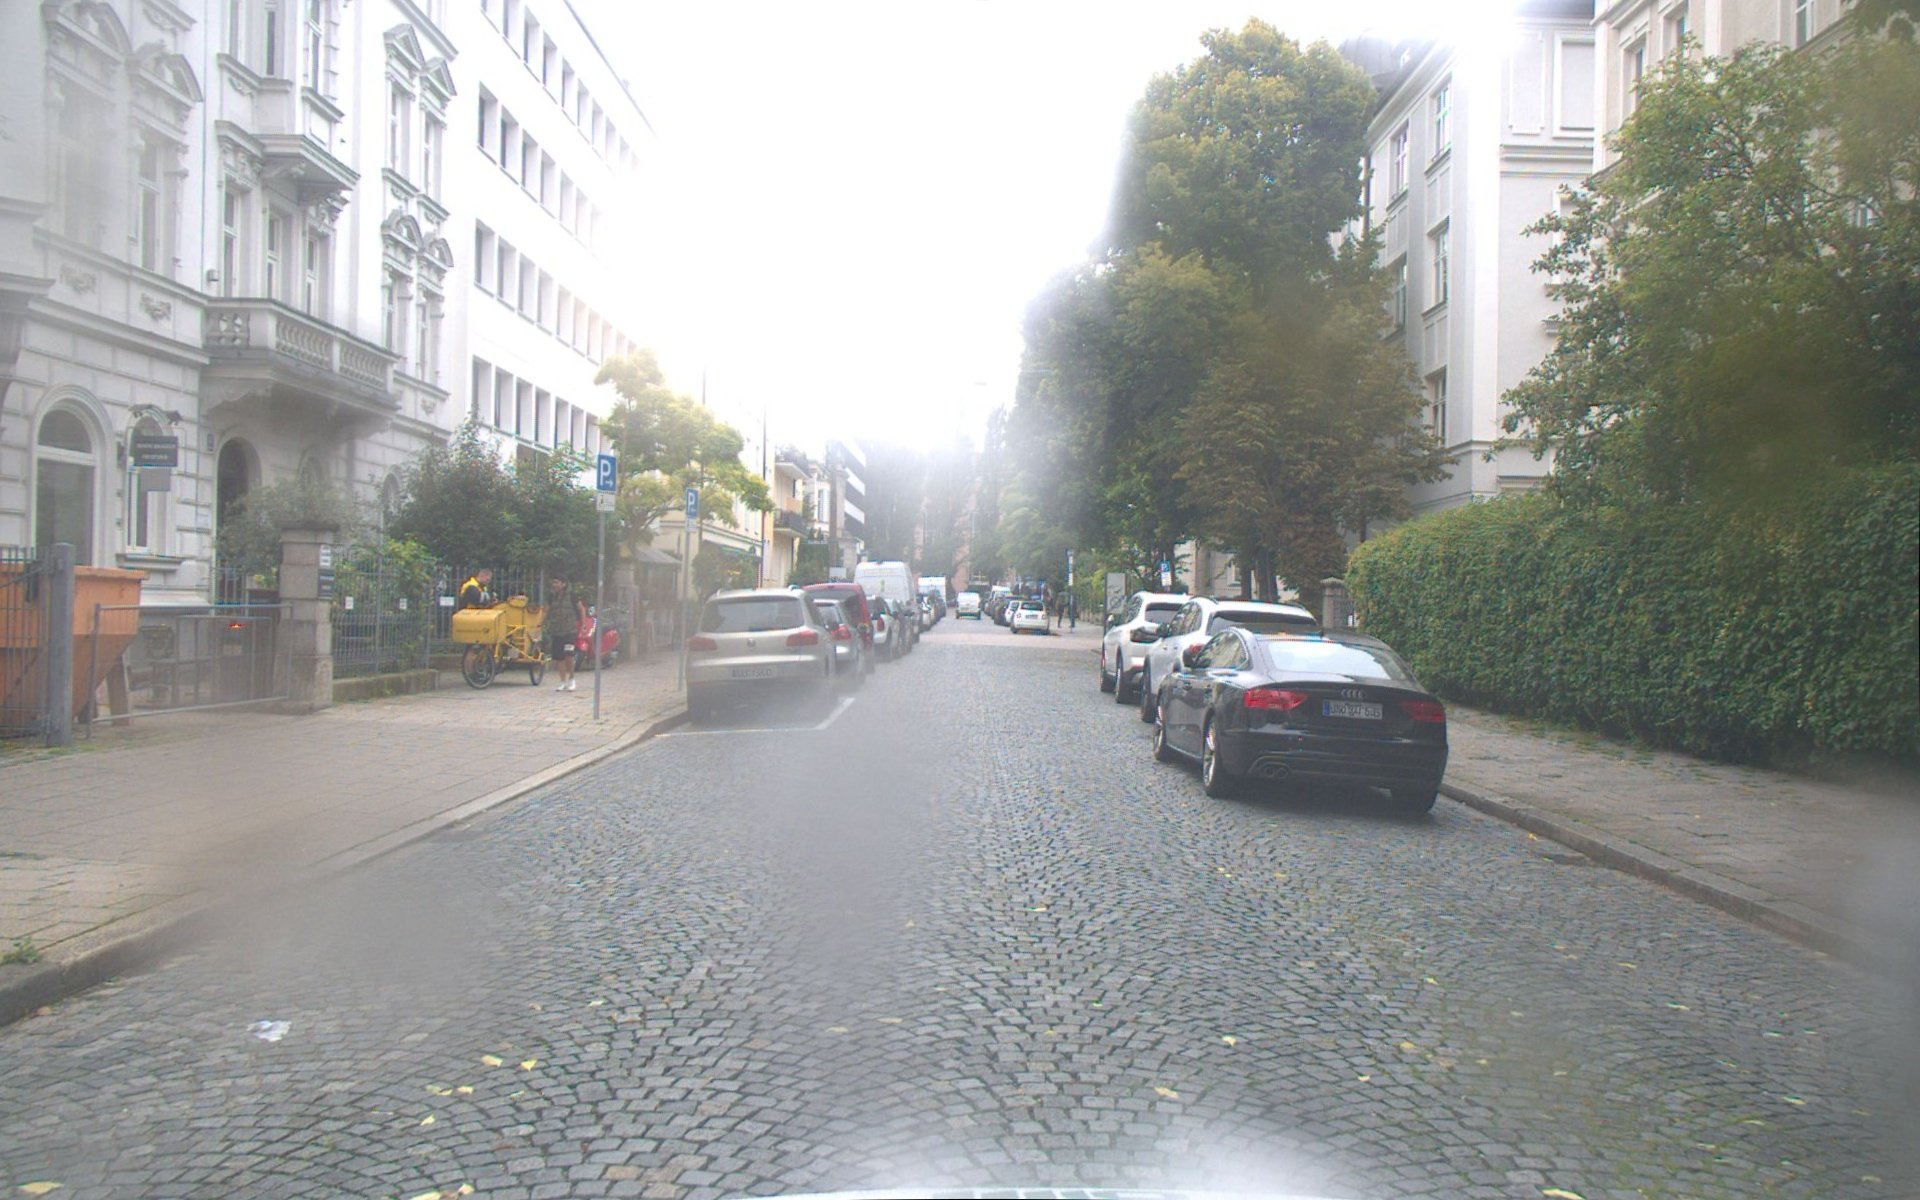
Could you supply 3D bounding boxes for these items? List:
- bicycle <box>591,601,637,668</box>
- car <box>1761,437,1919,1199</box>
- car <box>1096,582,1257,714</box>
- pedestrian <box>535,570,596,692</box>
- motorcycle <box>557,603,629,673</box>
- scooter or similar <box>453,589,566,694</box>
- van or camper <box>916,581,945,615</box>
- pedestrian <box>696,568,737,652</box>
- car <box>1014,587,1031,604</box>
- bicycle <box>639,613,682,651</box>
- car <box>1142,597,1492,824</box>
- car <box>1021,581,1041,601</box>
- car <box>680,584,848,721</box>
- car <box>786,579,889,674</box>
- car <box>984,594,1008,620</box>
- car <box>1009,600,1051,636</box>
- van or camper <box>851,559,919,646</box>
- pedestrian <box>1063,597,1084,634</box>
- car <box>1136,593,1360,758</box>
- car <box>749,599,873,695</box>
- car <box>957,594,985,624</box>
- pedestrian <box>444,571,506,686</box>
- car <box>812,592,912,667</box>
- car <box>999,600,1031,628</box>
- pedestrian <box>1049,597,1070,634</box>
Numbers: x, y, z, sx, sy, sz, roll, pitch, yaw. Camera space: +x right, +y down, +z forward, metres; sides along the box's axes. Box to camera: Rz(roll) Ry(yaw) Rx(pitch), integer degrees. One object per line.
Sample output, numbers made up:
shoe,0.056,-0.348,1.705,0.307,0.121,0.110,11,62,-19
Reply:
bicycle,-6.757,0.661,32.246,0.645,1.242,2.078,1,0,-18
car,3.359,0.631,2.214,1.836,1.962,5.162,4,0,-2
car,3.304,0.689,26.057,1.835,1.763,4.593,4,0,0
pedestrian,-5.699,0.445,23.925,0.679,1.717,0.720,1,0,-1
motorcycle,-6.659,0.672,30.082,0.609,1.217,1.866,1,0,9
scooter or similar,-6.668,0.584,24.630,0.922,1.467,2.656,1,0,0
van or camper,-2.454,-0.168,139.385,2.210,2.790,5.098,2,0,0
pedestrian,-5.740,0.236,39.067,0.776,1.951,0.758,2,0,0
car,7.671,-0.532,203.277,1.952,2.049,4.000,1,0,1
bicycle,-7.024,0.740,38.866,0.492,0.854,2.090,1,0,3
car,2.848,0.801,14.279,1.836,1.529,4.509,4,0,-2
car,7.665,-0.996,178.736,1.952,2.049,4.000,1,0,1
car,-2.520,0.634,22.144,1.835,1.607,4.254,-2,0,-2
car,-2.508,0.516,34.747,1.835,1.807,4.122,-2,0,-1
car,3.012,0.578,139.729,1.952,2.049,4.000,2,0,1
car,3.179,0.816,75.844,1.753,1.547,4.000,1,0,1
van or camper,-2.454,0.079,54.784,1.952,2.698,4.000,-2,0,1
pedestrian,6.413,0.891,93.272,0.842,2.049,0.986,1,0,-17
car,3.266,0.801,19.551,1.781,1.607,4.207,4,0,0
car,-2.461,0.742,28.192,1.835,1.476,4.206,-1,0,-2
car,0.796,0.610,117.262,1.952,2.049,4.000,1,0,1
pedestrian,-7.373,0.429,25.148,0.703,1.717,0.695,1,0,-1
car,-2.296,0.684,39.826,1.834,1.607,4.209,3,0,3
car,3.182,0.805,96.528,1.753,1.547,4.000,1,0,1
pedestrian,5.577,0.866,92.831,0.842,2.049,0.986,1,0,-17
